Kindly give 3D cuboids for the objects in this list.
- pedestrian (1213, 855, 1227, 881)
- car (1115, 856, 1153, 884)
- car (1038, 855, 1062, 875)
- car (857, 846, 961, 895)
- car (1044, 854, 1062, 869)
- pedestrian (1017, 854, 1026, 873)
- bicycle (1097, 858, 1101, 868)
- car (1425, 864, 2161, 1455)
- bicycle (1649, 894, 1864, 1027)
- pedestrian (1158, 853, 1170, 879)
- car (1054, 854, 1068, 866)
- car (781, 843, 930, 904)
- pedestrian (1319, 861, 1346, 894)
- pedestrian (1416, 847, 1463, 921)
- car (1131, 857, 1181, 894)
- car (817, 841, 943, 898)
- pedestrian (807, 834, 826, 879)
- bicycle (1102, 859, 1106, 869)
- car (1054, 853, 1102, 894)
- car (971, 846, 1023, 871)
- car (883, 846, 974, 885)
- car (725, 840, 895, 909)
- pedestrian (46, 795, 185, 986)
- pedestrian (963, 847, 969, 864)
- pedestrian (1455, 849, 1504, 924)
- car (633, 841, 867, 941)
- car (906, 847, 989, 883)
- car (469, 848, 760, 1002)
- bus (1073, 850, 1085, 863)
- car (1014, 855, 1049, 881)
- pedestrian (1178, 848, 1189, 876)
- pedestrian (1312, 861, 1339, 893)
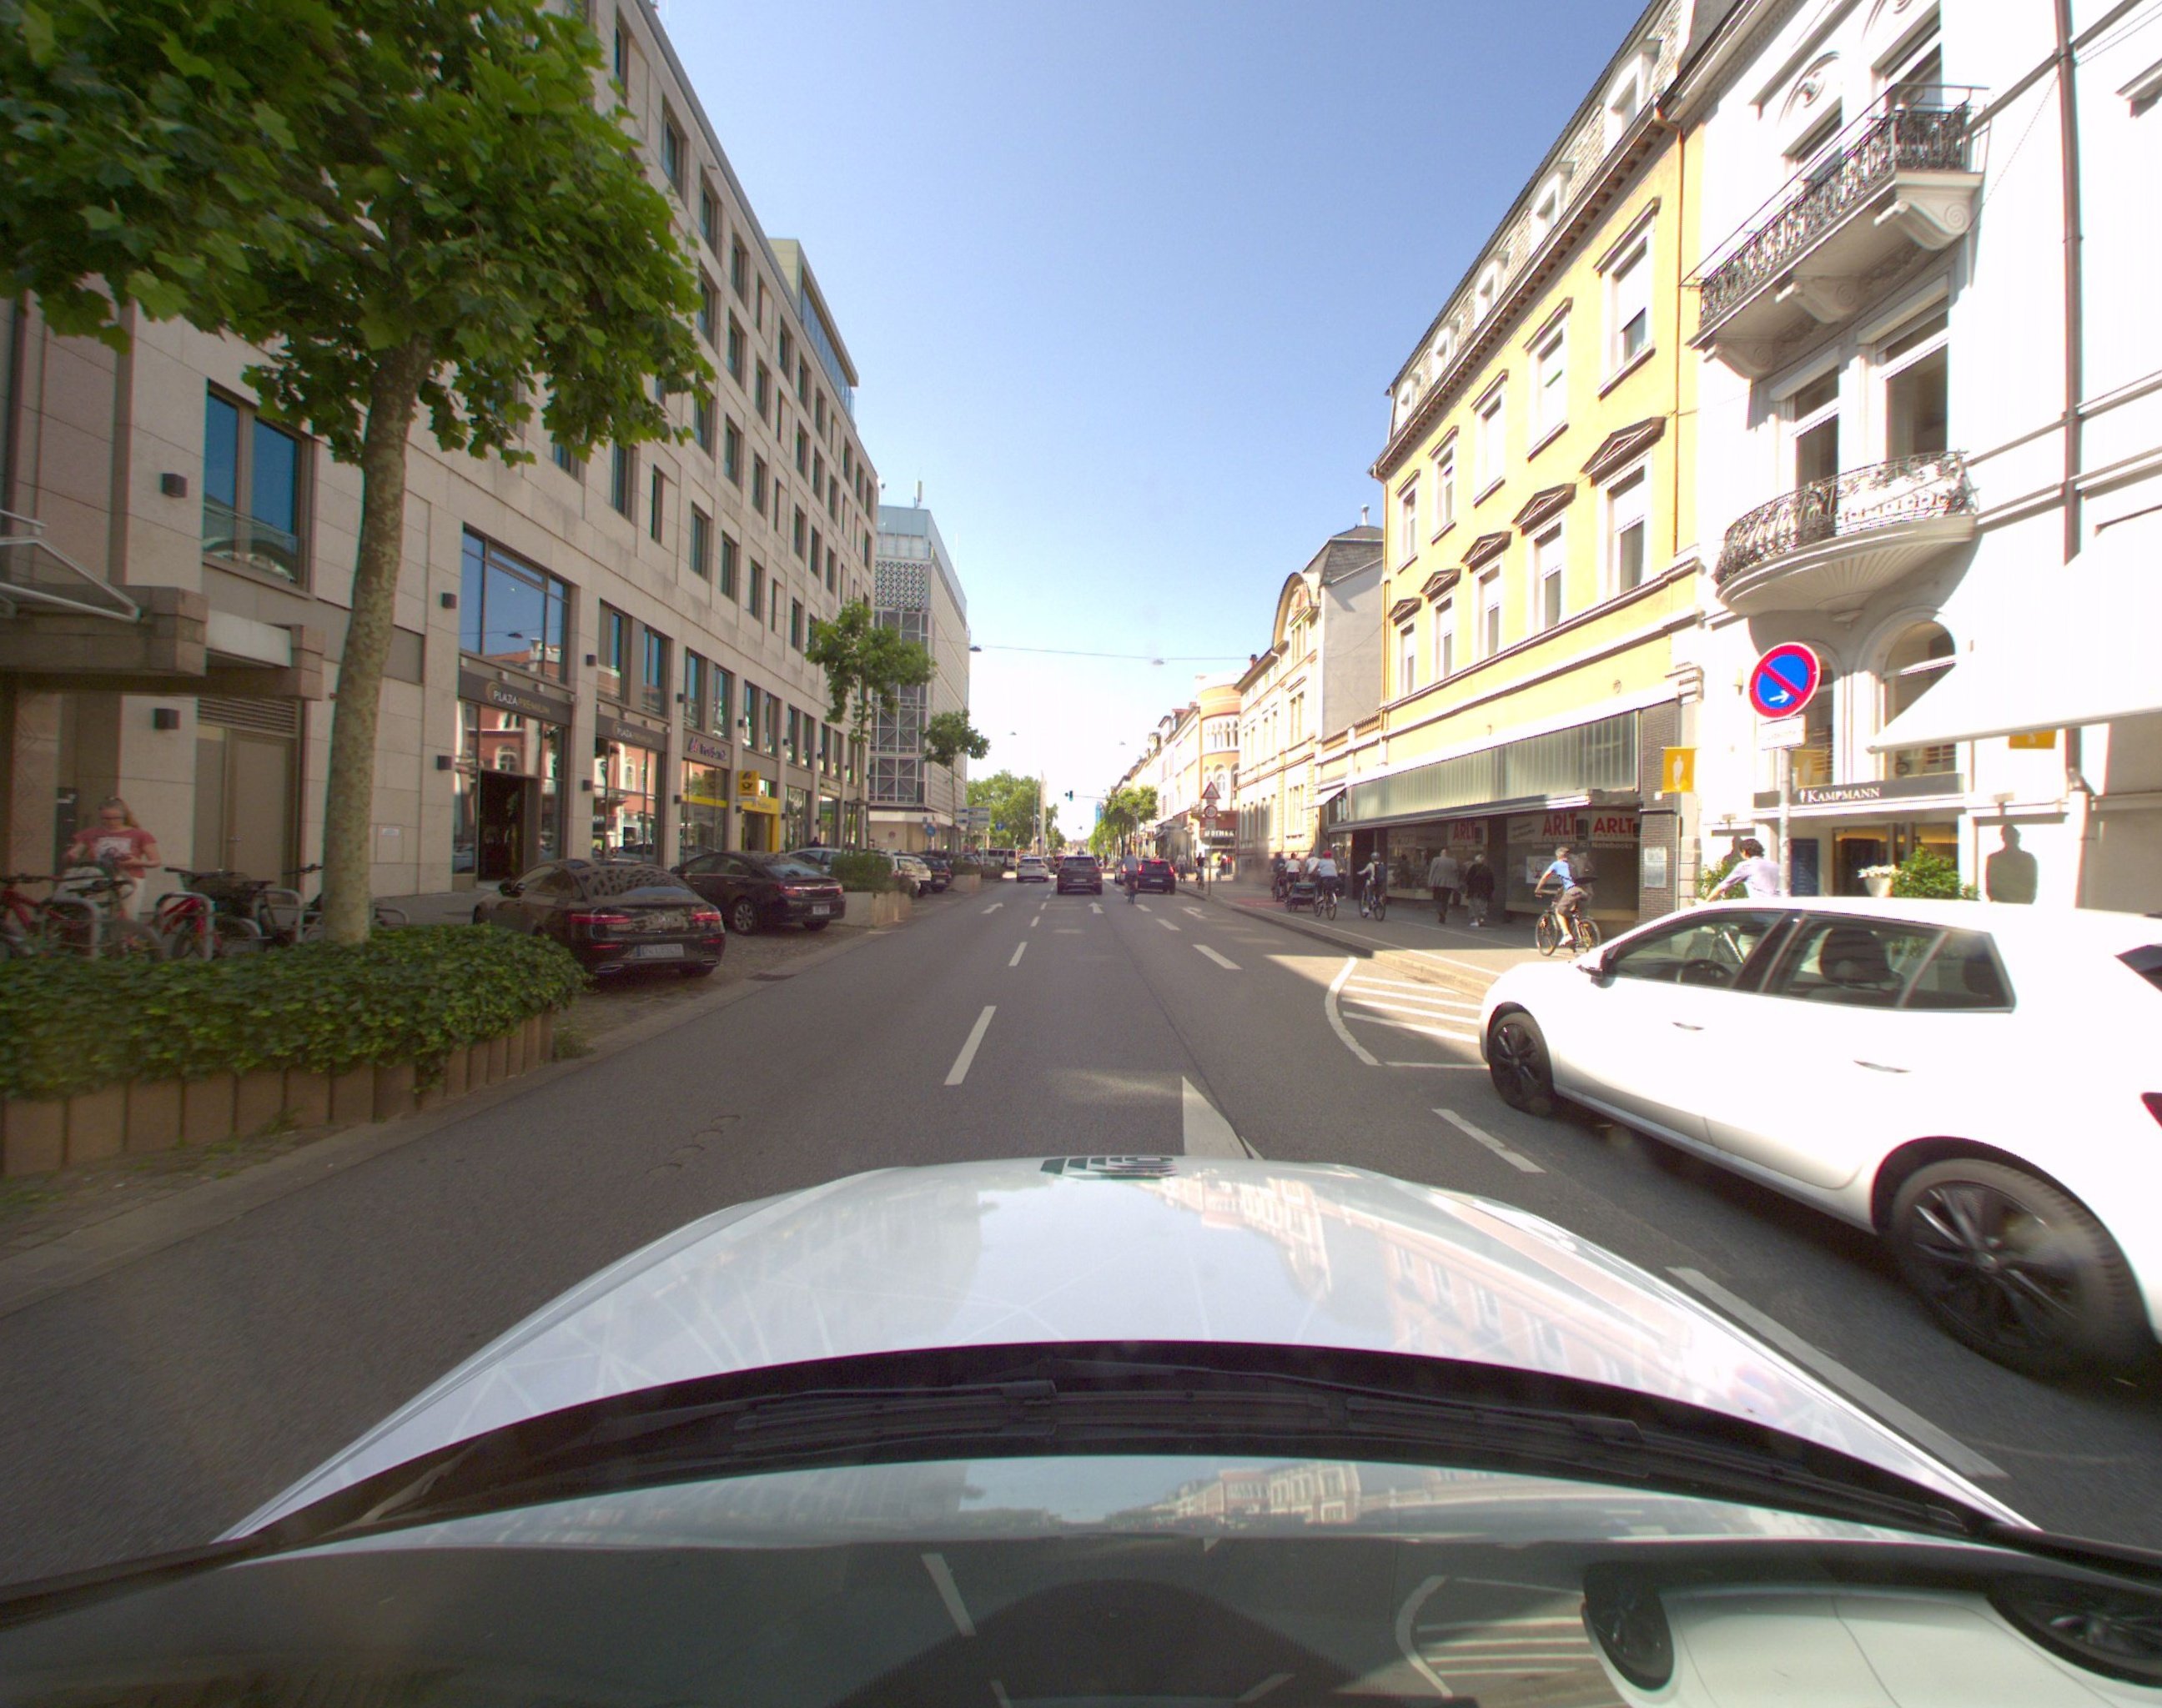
[{"bbox_3d":[9.361,0.944,54.812,0.790,1.720,0.728,0,0,-6],"label":"pedestrian"},{"bbox_3d":[2.861,0.831,44.458,1.816,1.385,4.000,1,1,0],"label":"car"},{"bbox_3d":[-2.348,0.807,62.677,1.738,1.441,3.998,1,0,-1],"label":"car"},{"bbox_3d":[-6.773,0.633,31.931,3.950,1.459,1.680,6,0,36],"label":"car"},{"bbox_3d":[-2.780,0.757,80.783,1.738,1.441,3.998,1,0,-1],"label":"car"},{"bbox_3d":[-5.097,0.789,69.525,0.616,1.615,0.545,2,-2,-31],"label":"pedestrian"},{"bbox_3d":[2.104,1.096,95.051,0.418,1.135,1.910,0,0,1],"label":"bicycle"},{"bbox_3d":[3.707,0.881,4.041,1.809,1.466,4.575,2,1,-3],"label":"car"},{"bbox_3d":[7.074,1.049,8.691,0.553,1.120,2.072,-1,0,0],"label":"bicycle"},{"bbox_3d":[5.990,0.856,58.743,0.721,1.809,0.657,1,0,16],"label":"pedestrian"},{"bbox_3d":[-2.389,0.710,97.765,1.738,1.441,3.998,1,0,-1],"label":"car"},{"bbox_3d":[-6.920,0.592,25.131,3.957,1.490,1.791,5,0,16],"label":"car"},{"bbox_3d":[10.039,0.935,32.519,0.932,1.269,0.568,-2,-1,5],"label":"pedestrian"},{"bbox_3d":[8.541,0.701,19.440,0.872,1.718,0.838,0,0,10],"label":"pedestrian"},{"bbox_3d":[3.223,0.893,35.496,1.816,1.409,3.186,3,1,0],"label":"car"},{"bbox_3d":[-7.084,0.549,28.655,3.952,1.568,1.709,6,0,24],"label":"car"},{"bbox_3d":[-12.079,0.107,37.180,0.622,2.014,0.700,0,0,0],"label":"pedestrian"},{"bbox_3d":[2.599,1.129,91.832,0.418,1.135,1.910,0,0,1],"label":"bicycle"},{"bbox_3d":[-0.136,0.786,33.026,1.827,1.527,3.998,1,-1,-1],"label":"car"},{"bbox_3d":[-7.857,0.401,75.866,4.665,2.003,1.954,4,1,39],"label":"car"},{"bbox_3d":[-7.245,0.555,38.972,3.978,1.500,1.715,5,-1,-3],"label":"car"},{"bbox_3d":[-7.294,0.551,22.258,3.980,1.500,1.714,5,-1,-5],"label":"car"},{"bbox_3d":[-8.833,0.317,7.477,0.568,1.657,0.632,1,0,-22],"label":"pedestrian"},{"bbox_3d":[-13.500,0.205,95.686,0.623,2.014,0.571,0,0,-7],"label":"pedestrian"},{"bbox_3d":[9.136,0.724,18.698,0.645,1.684,0.944,0,0,0],"label":"pedestrian"},{"bbox_3d":[-6.461,0.641,15.799,4.300,1.513,1.844,3,0,29],"label":"car"},{"bbox_3d":[-6.890,0.566,42.410,3.978,1.545,1.715,5,-1,-3],"label":"car"},{"bbox_3d":[-6.196,0.735,10.554,4.593,1.408,1.918,3,1,42],"label":"car"},{"bbox_3d":[-0.618,0.694,225.562,2.764,3.605,8.961,1,0,-4],"label":"bus"},{"bbox_3d":[-2.826,0.809,47.353,1.858,1.441,3.997,0,0,-2],"label":"car"},{"bbox_3d":[6.658,0.509,52.787,0.649,1.809,0.730,0,0,4],"label":"pedestrian"},{"bbox_3d":[9.959,0.939,33.244,0.932,1.269,0.568,-2,-1,5],"label":"pedestrian"}]
